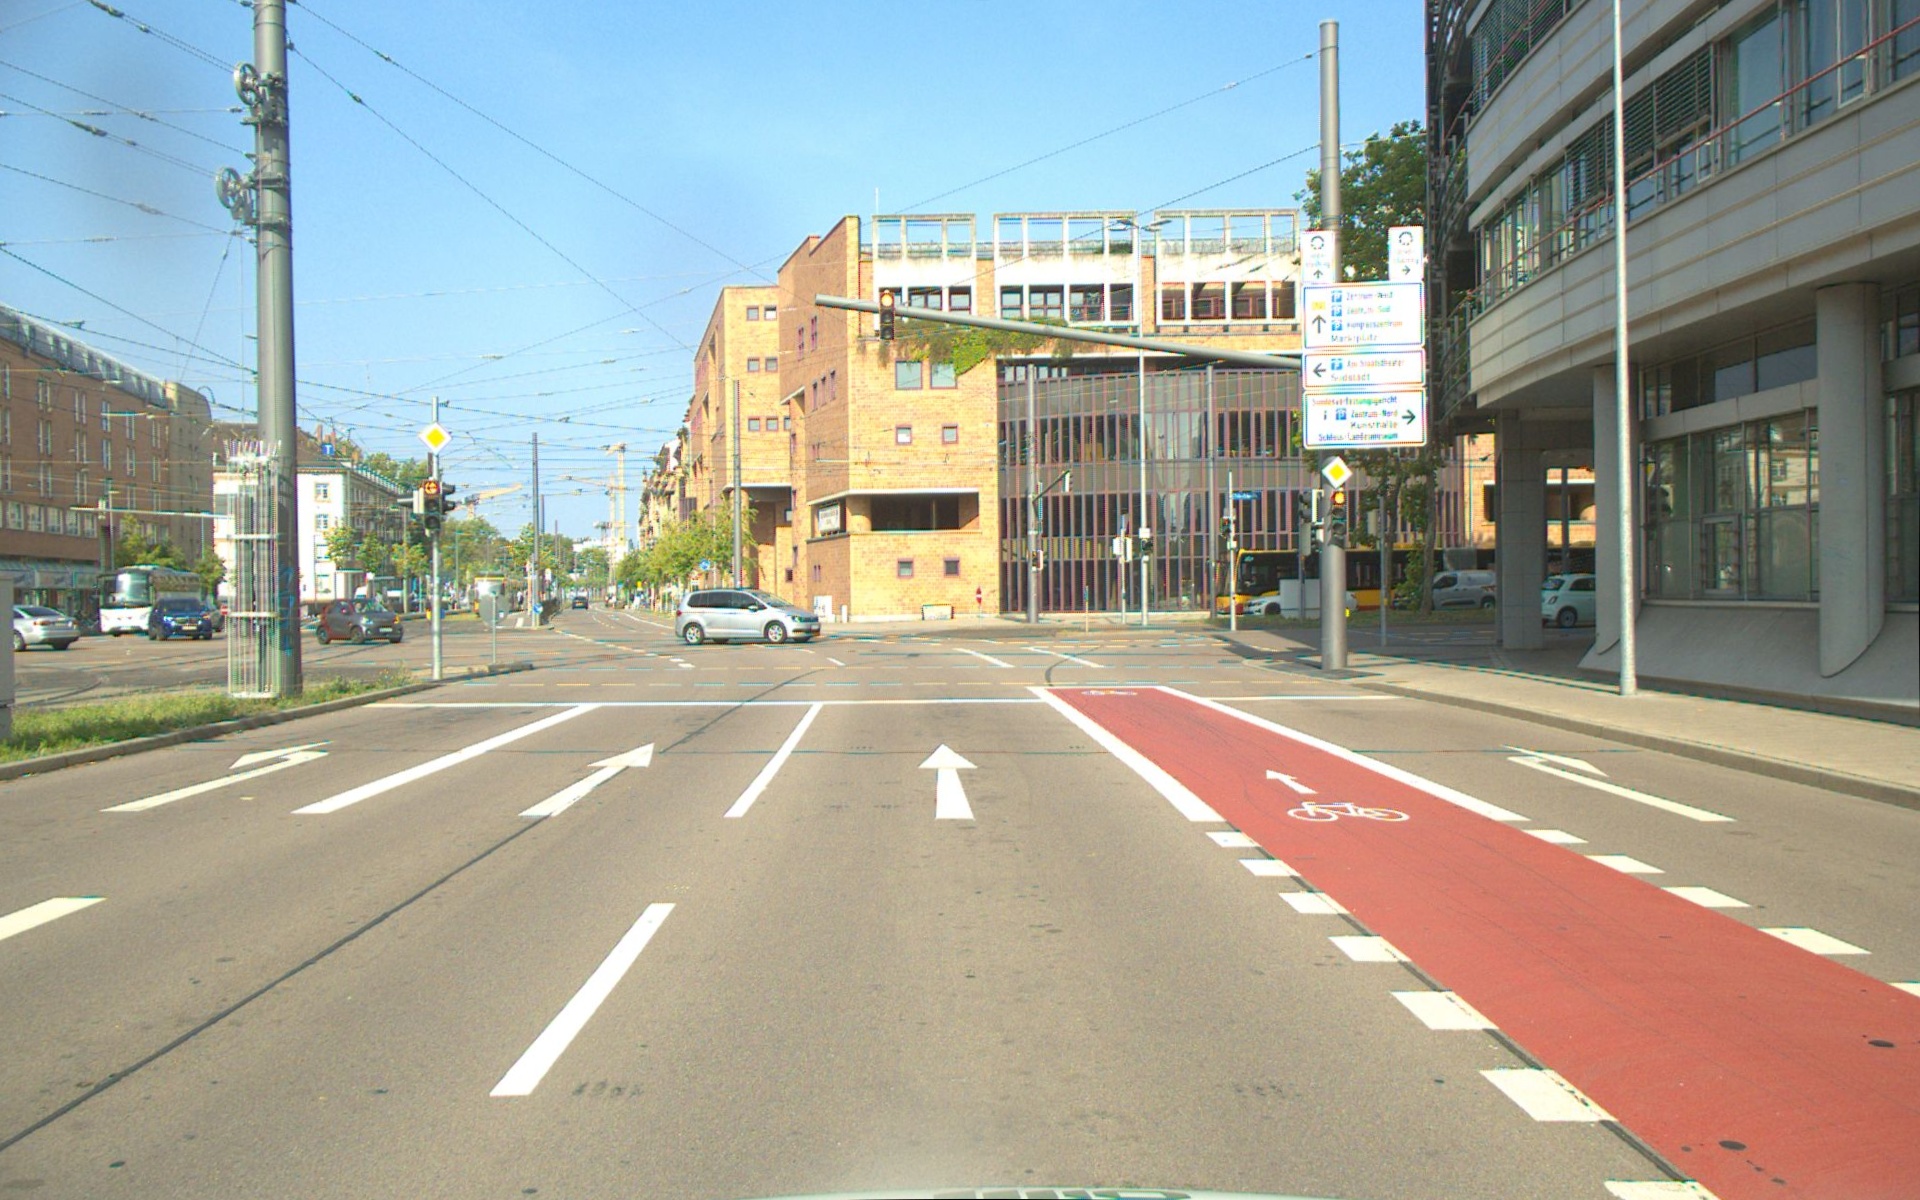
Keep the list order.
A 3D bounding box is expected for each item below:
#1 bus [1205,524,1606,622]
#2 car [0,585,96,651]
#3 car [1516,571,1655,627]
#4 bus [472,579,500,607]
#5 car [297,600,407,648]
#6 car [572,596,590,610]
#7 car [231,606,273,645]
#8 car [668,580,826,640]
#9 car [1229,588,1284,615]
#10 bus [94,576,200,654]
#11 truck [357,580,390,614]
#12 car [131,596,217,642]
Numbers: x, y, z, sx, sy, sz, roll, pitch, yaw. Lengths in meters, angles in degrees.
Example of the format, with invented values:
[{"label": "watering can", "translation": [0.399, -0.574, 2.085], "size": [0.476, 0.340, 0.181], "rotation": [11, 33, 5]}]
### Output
[{"label": "bus", "translation": [19.289, -1.183, 71.433], "size": [17.299, 3.877, 2.856], "rotation": [-1, -2, -12]}, {"label": "car", "translation": [-30.453, 0.580, 53.164], "size": [4.502, 2.049, 2.002], "rotation": [-1, 0, 13]}, {"label": "car", "translation": [18.289, -0.018, 48.400], "size": [3.375, 1.569, 1.730], "rotation": [-1, -1, -11]}, {"label": "bus", "translation": [-36.513, -0.547, 127.350], "size": [1.962, 2.049, 3.981], "rotation": [-1, 0, -17]}, {"label": "car", "translation": [-20.486, 0.803, 55.704], "size": [3.528, 1.518, 1.697], "rotation": [-2, -1, 34]}, {"label": "car", "translation": [-44.477, 0.383, 194.125], "size": [2.038, 1.569, 4.398], "rotation": [-1, -1, -14]}, {"label": "car", "translation": [-38.165, 1.388, 89.178], "size": [1.574, 2.049, 2.721], "rotation": [-1, -1, -13]}, {"label": "car", "translation": [-6.259, 0.295, 48.526], "size": [4.288, 1.663, 1.690], "rotation": [-1, 2, 21]}, {"label": "car", "translation": [11.803, 0.069, 65.856], "size": [1.913, 0.975, 1.092], "rotation": [1, -2, -6]}, {"label": "bus", "translation": [-44.632, 0.900, 91.176], "size": [2.700, 3.990, 12.170], "rotation": [-1, -1, -14]}, {"label": "truck", "translation": [-47.376, -0.291, 133.623], "size": [1.959, 2.644, 4.724], "rotation": [-1, 1, -13]}, {"label": "car", "translation": [-30.471, 0.747, 64.073], "size": [1.974, 1.664, 4.348], "rotation": [0, -2, -41]}]
